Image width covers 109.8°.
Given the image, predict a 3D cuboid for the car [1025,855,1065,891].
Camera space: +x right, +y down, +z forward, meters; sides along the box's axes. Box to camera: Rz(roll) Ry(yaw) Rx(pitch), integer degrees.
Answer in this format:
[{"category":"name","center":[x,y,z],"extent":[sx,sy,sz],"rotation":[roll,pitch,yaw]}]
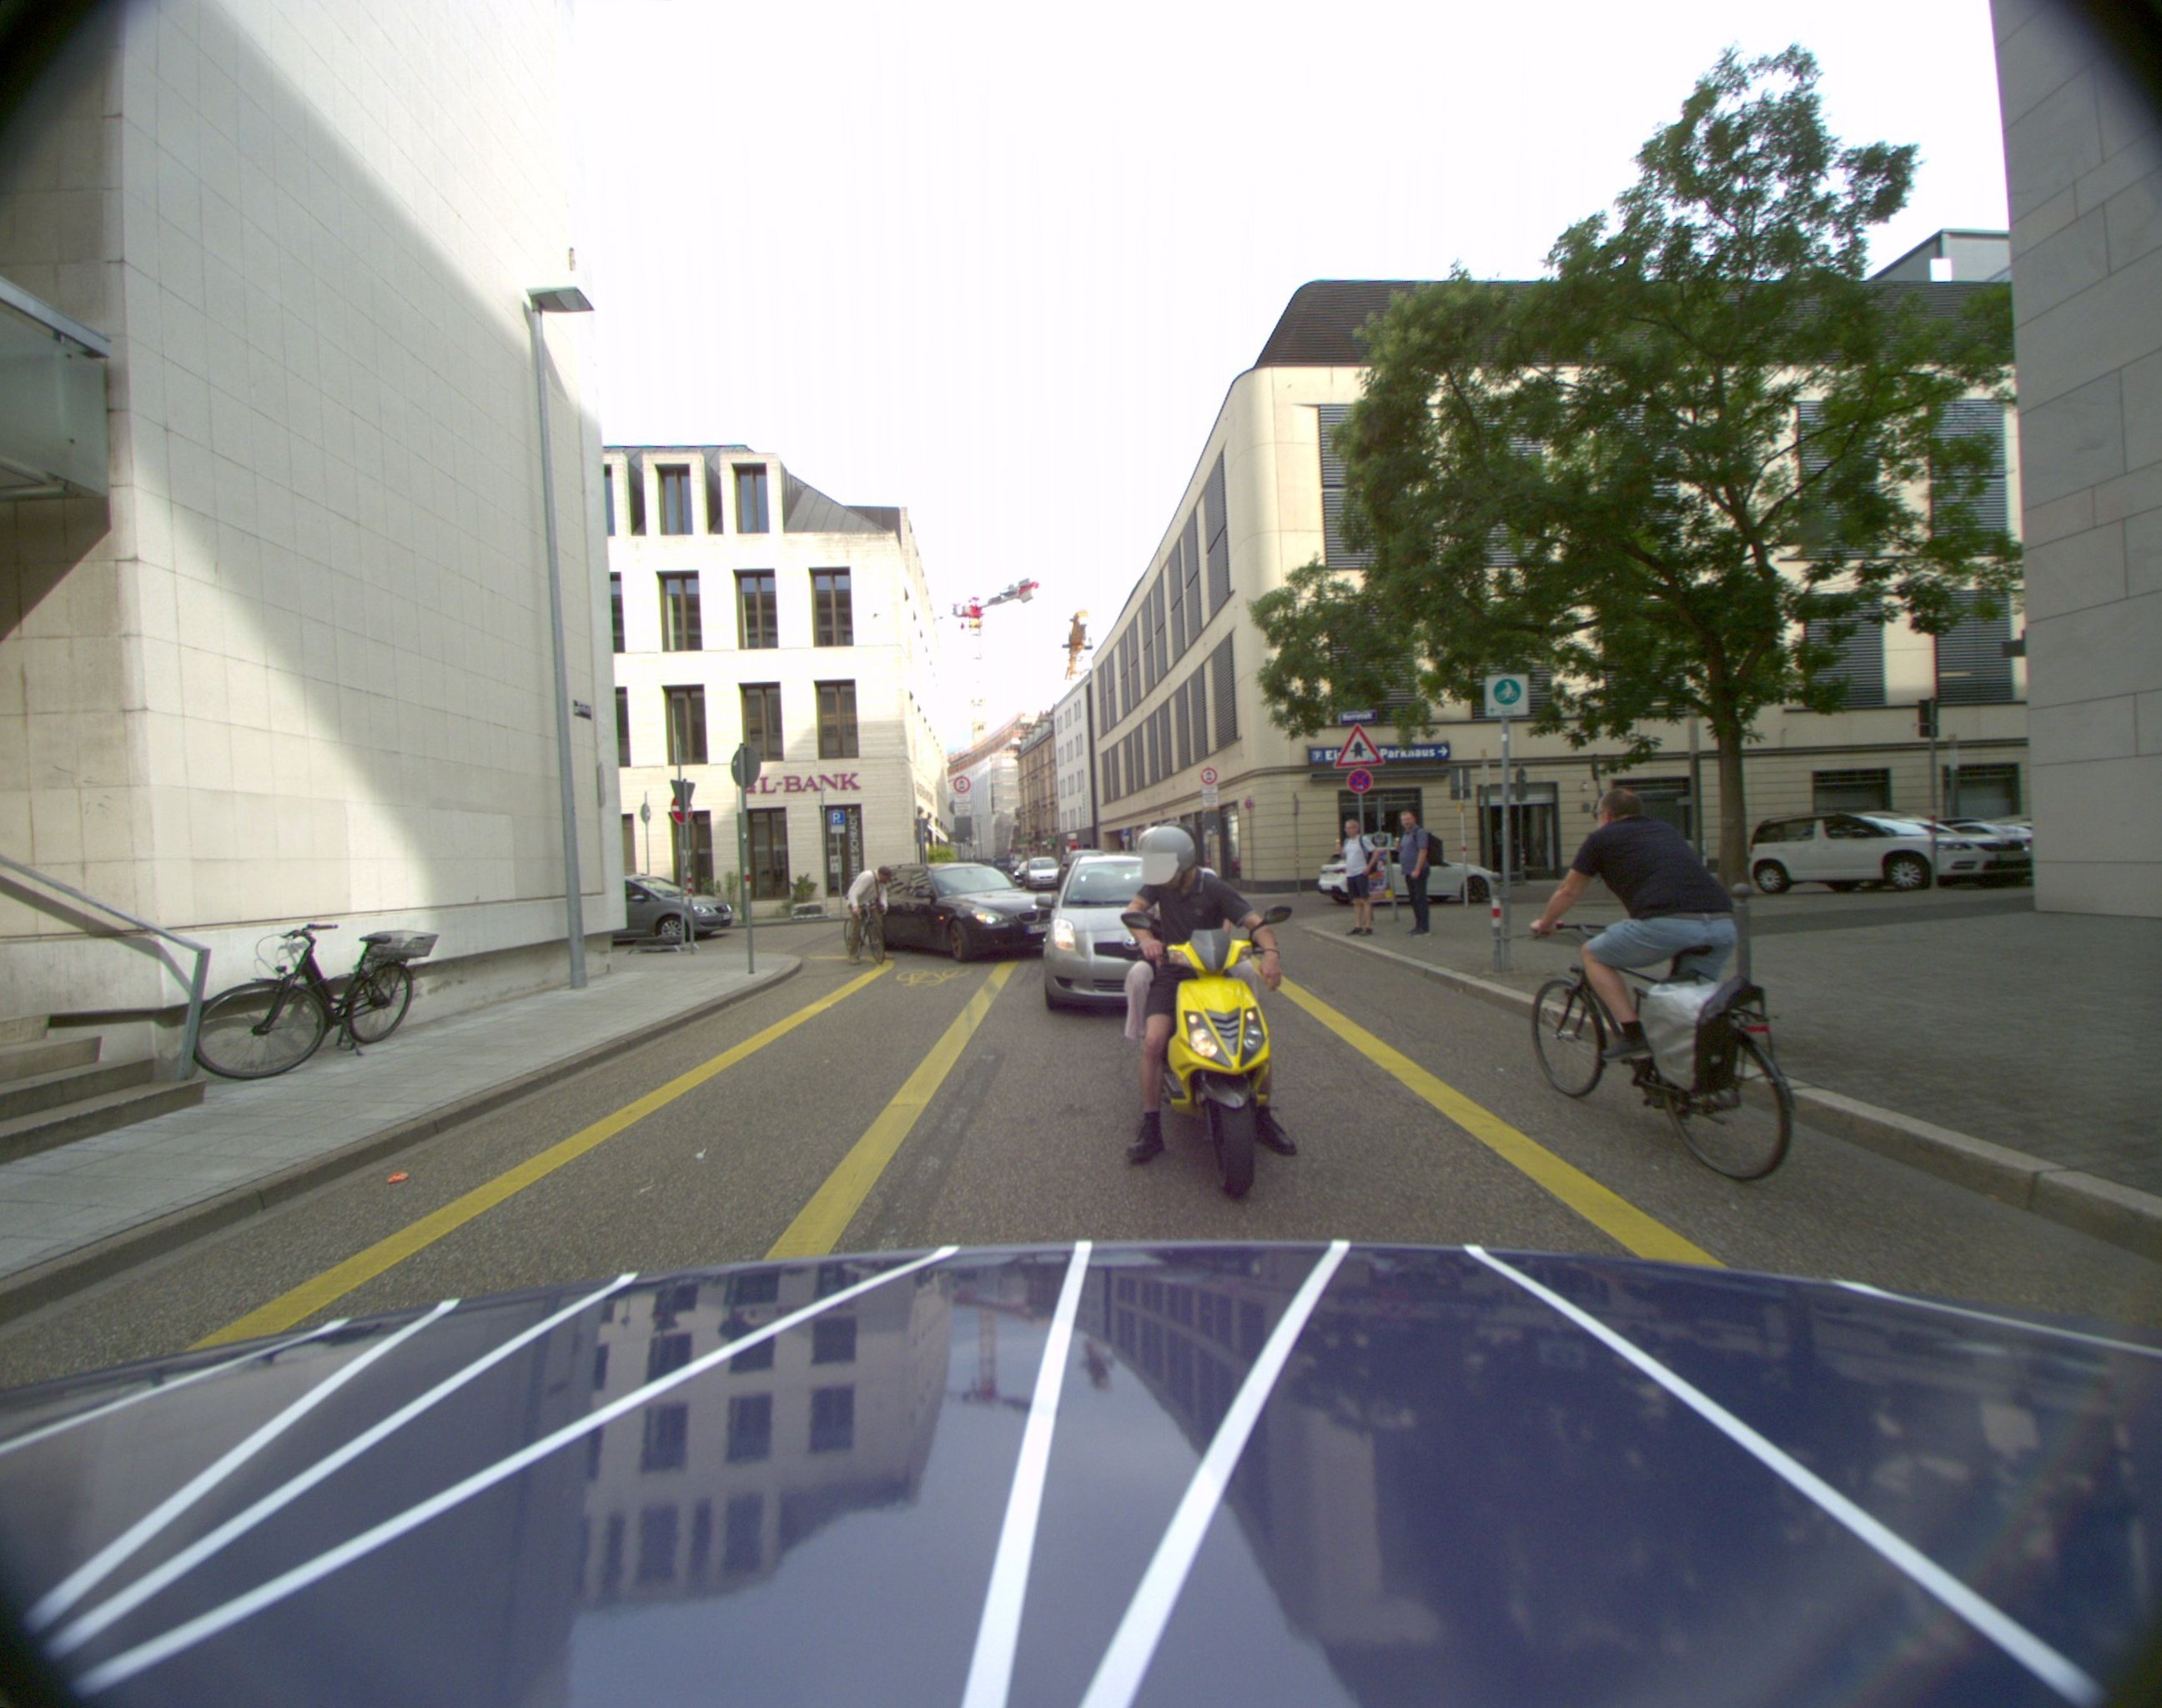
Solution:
[{"category":"car","center":[-1.809,0.878,37.336],"extent":[1.563,1.547,4.100],"rotation":[-3,1,-7]}]

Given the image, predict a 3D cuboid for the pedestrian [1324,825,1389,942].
[{"category":"pedestrian","center":[4.281,0.444,11.843],"extent":[0.644,1.755,0.653],"rotation":[-2,1,-11]}]

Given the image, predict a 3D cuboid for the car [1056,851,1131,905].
[{"category":"car","center":[0.317,0.700,24.369],"extent":[1.710,1.482,4.100],"rotation":[-3,1,-8]}]

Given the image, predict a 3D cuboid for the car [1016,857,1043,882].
[{"category":"car","center":[-3.409,0.991,50.093],"extent":[1.589,1.477,3.997],"rotation":[-2,1,-6]}]

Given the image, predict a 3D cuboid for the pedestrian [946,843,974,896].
[{"category":"pedestrian","center":[-4.322,0.528,27.068],"extent":[0.774,1.820,0.860],"rotation":[-3,1,-20]}]

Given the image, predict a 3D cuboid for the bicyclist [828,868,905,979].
[{"category":"bicyclist","center":[-3.334,1.033,11.763],"extent":[0.894,1.585,0.875],"rotation":[-3,1,-30]}]

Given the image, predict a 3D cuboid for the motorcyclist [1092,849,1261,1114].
[{"category":"motorcyclist","center":[0.530,0.701,4.530],"extent":[0.903,1.445,0.742],"rotation":[-1,0,1]}]

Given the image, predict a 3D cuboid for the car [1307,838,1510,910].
[{"category":"car","center":[8.250,0.462,19.343],"extent":[4.365,1.572,1.814],"rotation":[-2,1,-6]}]

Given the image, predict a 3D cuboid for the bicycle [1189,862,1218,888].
[{"category":"bicycle","center":[5.350,0.887,33.284],"extent":[0.692,1.038,2.543],"rotation":[-2,1,-4]}]

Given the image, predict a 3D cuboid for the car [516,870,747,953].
[{"category":"car","center":[-10.269,1.282,17.610],"extent":[4.193,1.581,1.814],"rotation":[-2,1,-2]}]

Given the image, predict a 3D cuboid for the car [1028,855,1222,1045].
[{"category":"car","center":[0.428,0.816,8.278],"extent":[1.562,1.482,3.784],"rotation":[-3,1,2]}]

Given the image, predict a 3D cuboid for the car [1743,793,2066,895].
[{"category":"car","center":[15.908,-0.076,15.059],"extent":[1.899,1.682,3.964],"rotation":[-2,-3,-3]}]

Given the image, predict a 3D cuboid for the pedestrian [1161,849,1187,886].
[{"category":"pedestrian","center":[4.728,0.682,38.763],"extent":[0.892,1.755,1.060],"rotation":[-6,1,-7]}]

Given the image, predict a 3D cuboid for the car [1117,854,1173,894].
[{"category":"car","center":[2.714,0.817,33.128],"extent":[1.563,1.547,4.100],"rotation":[-3,1,-7]}]

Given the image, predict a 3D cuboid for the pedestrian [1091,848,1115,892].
[{"category":"pedestrian","center":[0.922,0.667,32.408],"extent":[0.861,1.820,0.773],"rotation":[-2,1,-7]}]

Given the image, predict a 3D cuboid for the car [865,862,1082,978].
[{"category":"car","center":[-1.859,0.935,12.196],"extent":[1.720,1.482,3.755],"rotation":[-3,1,-38]}]

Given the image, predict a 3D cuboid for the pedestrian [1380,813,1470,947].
[{"category":"pedestrian","center":[4.960,0.361,10.996],"extent":[0.745,1.804,0.756],"rotation":[-6,1,-11]}]

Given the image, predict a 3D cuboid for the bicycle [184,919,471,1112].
[{"category":"bicycle","center":[-6.039,1.216,6.266],"extent":[0.590,1.160,1.814],"rotation":[-2,1,-4]}]

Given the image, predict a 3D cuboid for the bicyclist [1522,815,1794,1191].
[{"category":"bicyclist","center":[2.792,0.647,3.797],"extent":[0.644,1.644,0.940],"rotation":[0,1,4]}]

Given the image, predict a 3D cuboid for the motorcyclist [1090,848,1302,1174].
[{"category":"motorcyclist","center":[0.522,0.704,3.919],"extent":[0.924,1.445,1.065],"rotation":[-1,0,1]}]

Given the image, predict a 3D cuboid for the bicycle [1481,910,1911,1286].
[{"category":"bicycle","center":[2.799,0.981,3.808],"extent":[0.648,1.233,1.953],"rotation":[0,1,4]}]

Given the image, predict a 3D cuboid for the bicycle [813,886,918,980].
[{"category":"bicycle","center":[-3.472,1.162,12.012],"extent":[0.872,1.188,2.857],"rotation":[-3,1,-30]}]

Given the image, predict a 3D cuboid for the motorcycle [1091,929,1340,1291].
[{"category":"motorcycle","center":[0.527,1.078,3.938],"extent":[0.929,1.158,2.127],"rotation":[-1,0,1]}]
